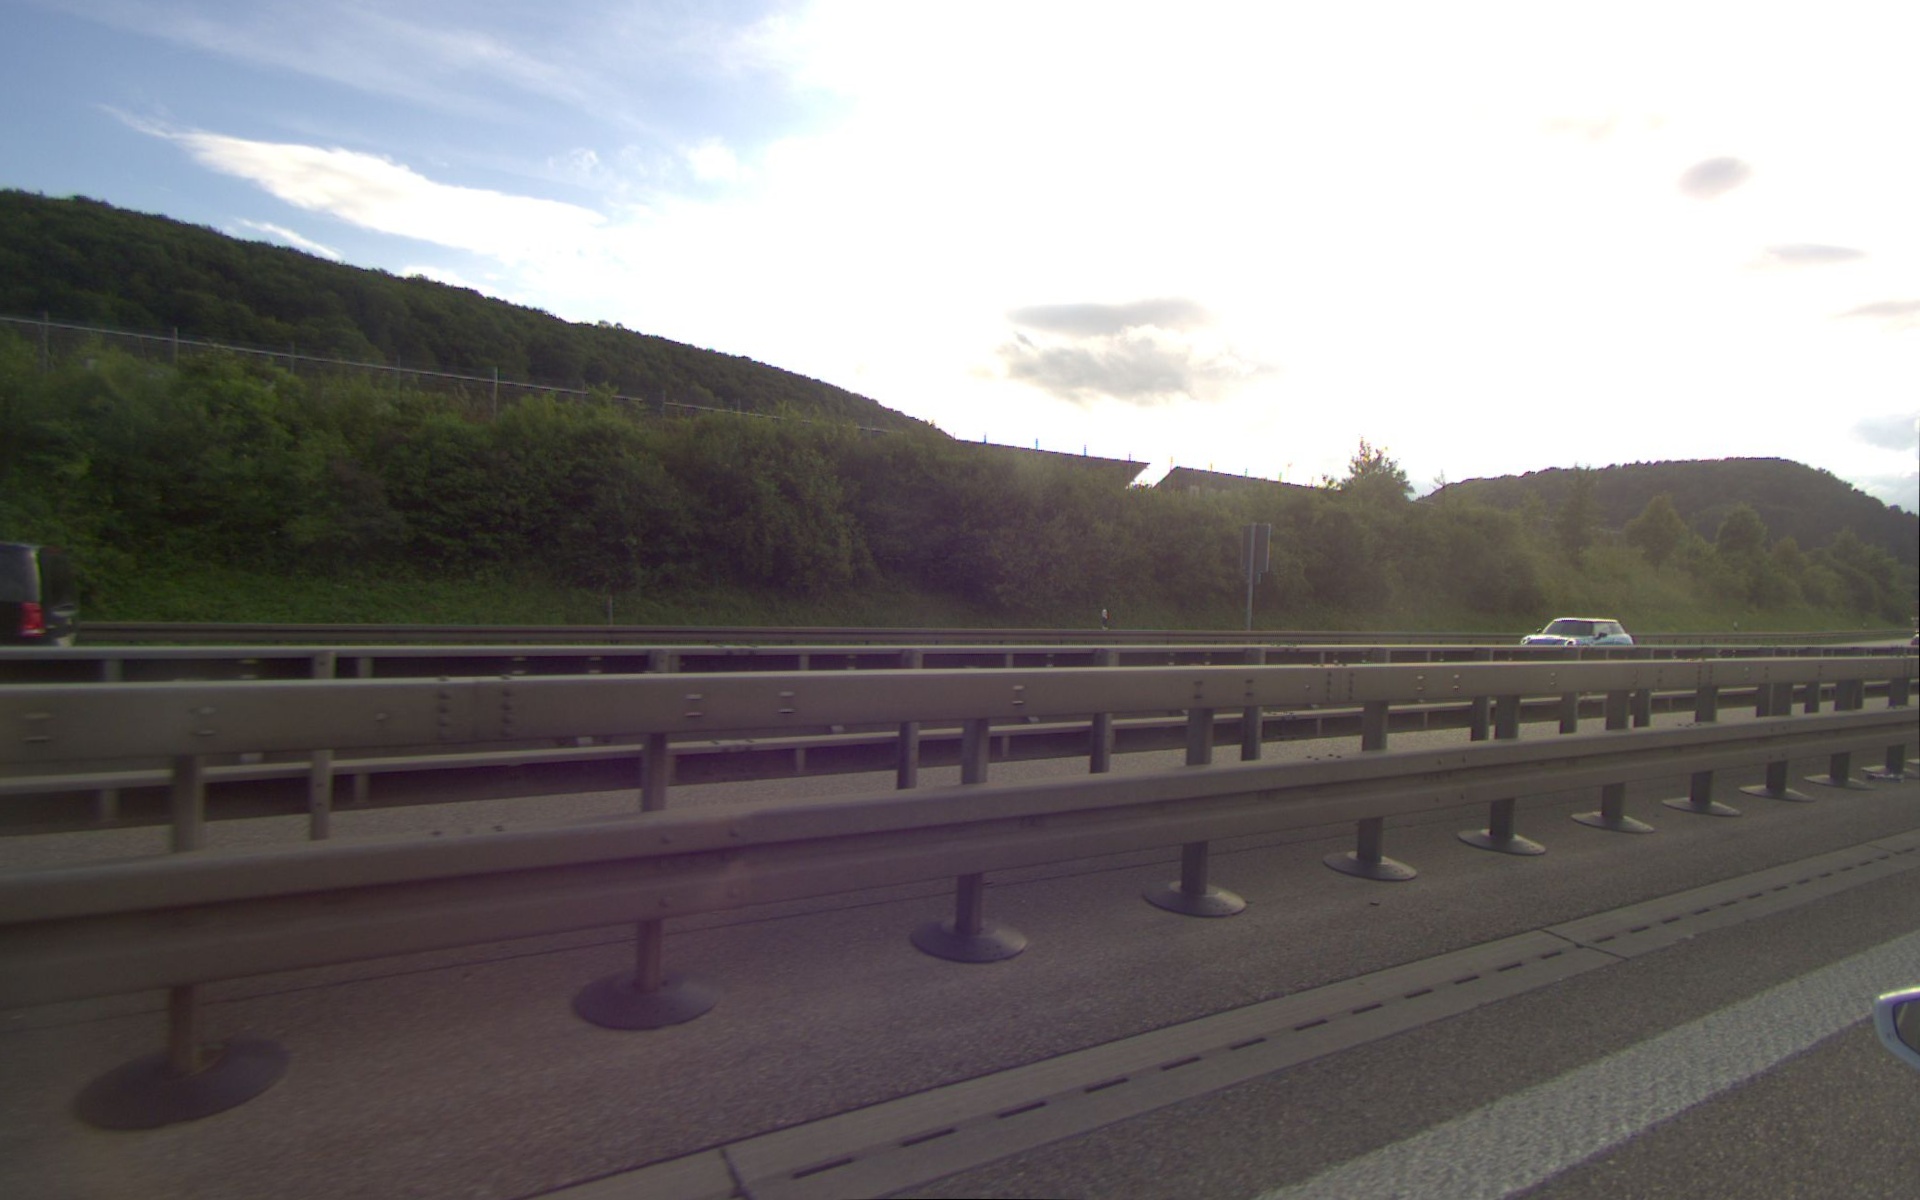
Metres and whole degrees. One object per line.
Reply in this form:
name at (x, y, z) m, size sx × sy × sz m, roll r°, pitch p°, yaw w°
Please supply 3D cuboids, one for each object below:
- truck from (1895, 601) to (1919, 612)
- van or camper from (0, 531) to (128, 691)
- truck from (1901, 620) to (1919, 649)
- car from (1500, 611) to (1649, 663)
truck at (177.720, 1.183, 185.884) m, size 2.842 × 2.040 × 7.314 m, roll 0°, pitch -2°, yaw 5°
van or camper at (-12.250, 0.085, 10.352) m, size 5.394 × 1.682 × 1.982 m, roll 1°, pitch -1°, yaw -33°
truck at (46.809, 1.659, 47.891) m, size 3.903 × 1.371 × 1.983 m, roll 1°, pitch -1°, yaw -32°
car at (17.613, 1.027, 28.749) m, size 4.308 × 1.371 × 1.982 m, roll 1°, pitch -1°, yaw -33°
